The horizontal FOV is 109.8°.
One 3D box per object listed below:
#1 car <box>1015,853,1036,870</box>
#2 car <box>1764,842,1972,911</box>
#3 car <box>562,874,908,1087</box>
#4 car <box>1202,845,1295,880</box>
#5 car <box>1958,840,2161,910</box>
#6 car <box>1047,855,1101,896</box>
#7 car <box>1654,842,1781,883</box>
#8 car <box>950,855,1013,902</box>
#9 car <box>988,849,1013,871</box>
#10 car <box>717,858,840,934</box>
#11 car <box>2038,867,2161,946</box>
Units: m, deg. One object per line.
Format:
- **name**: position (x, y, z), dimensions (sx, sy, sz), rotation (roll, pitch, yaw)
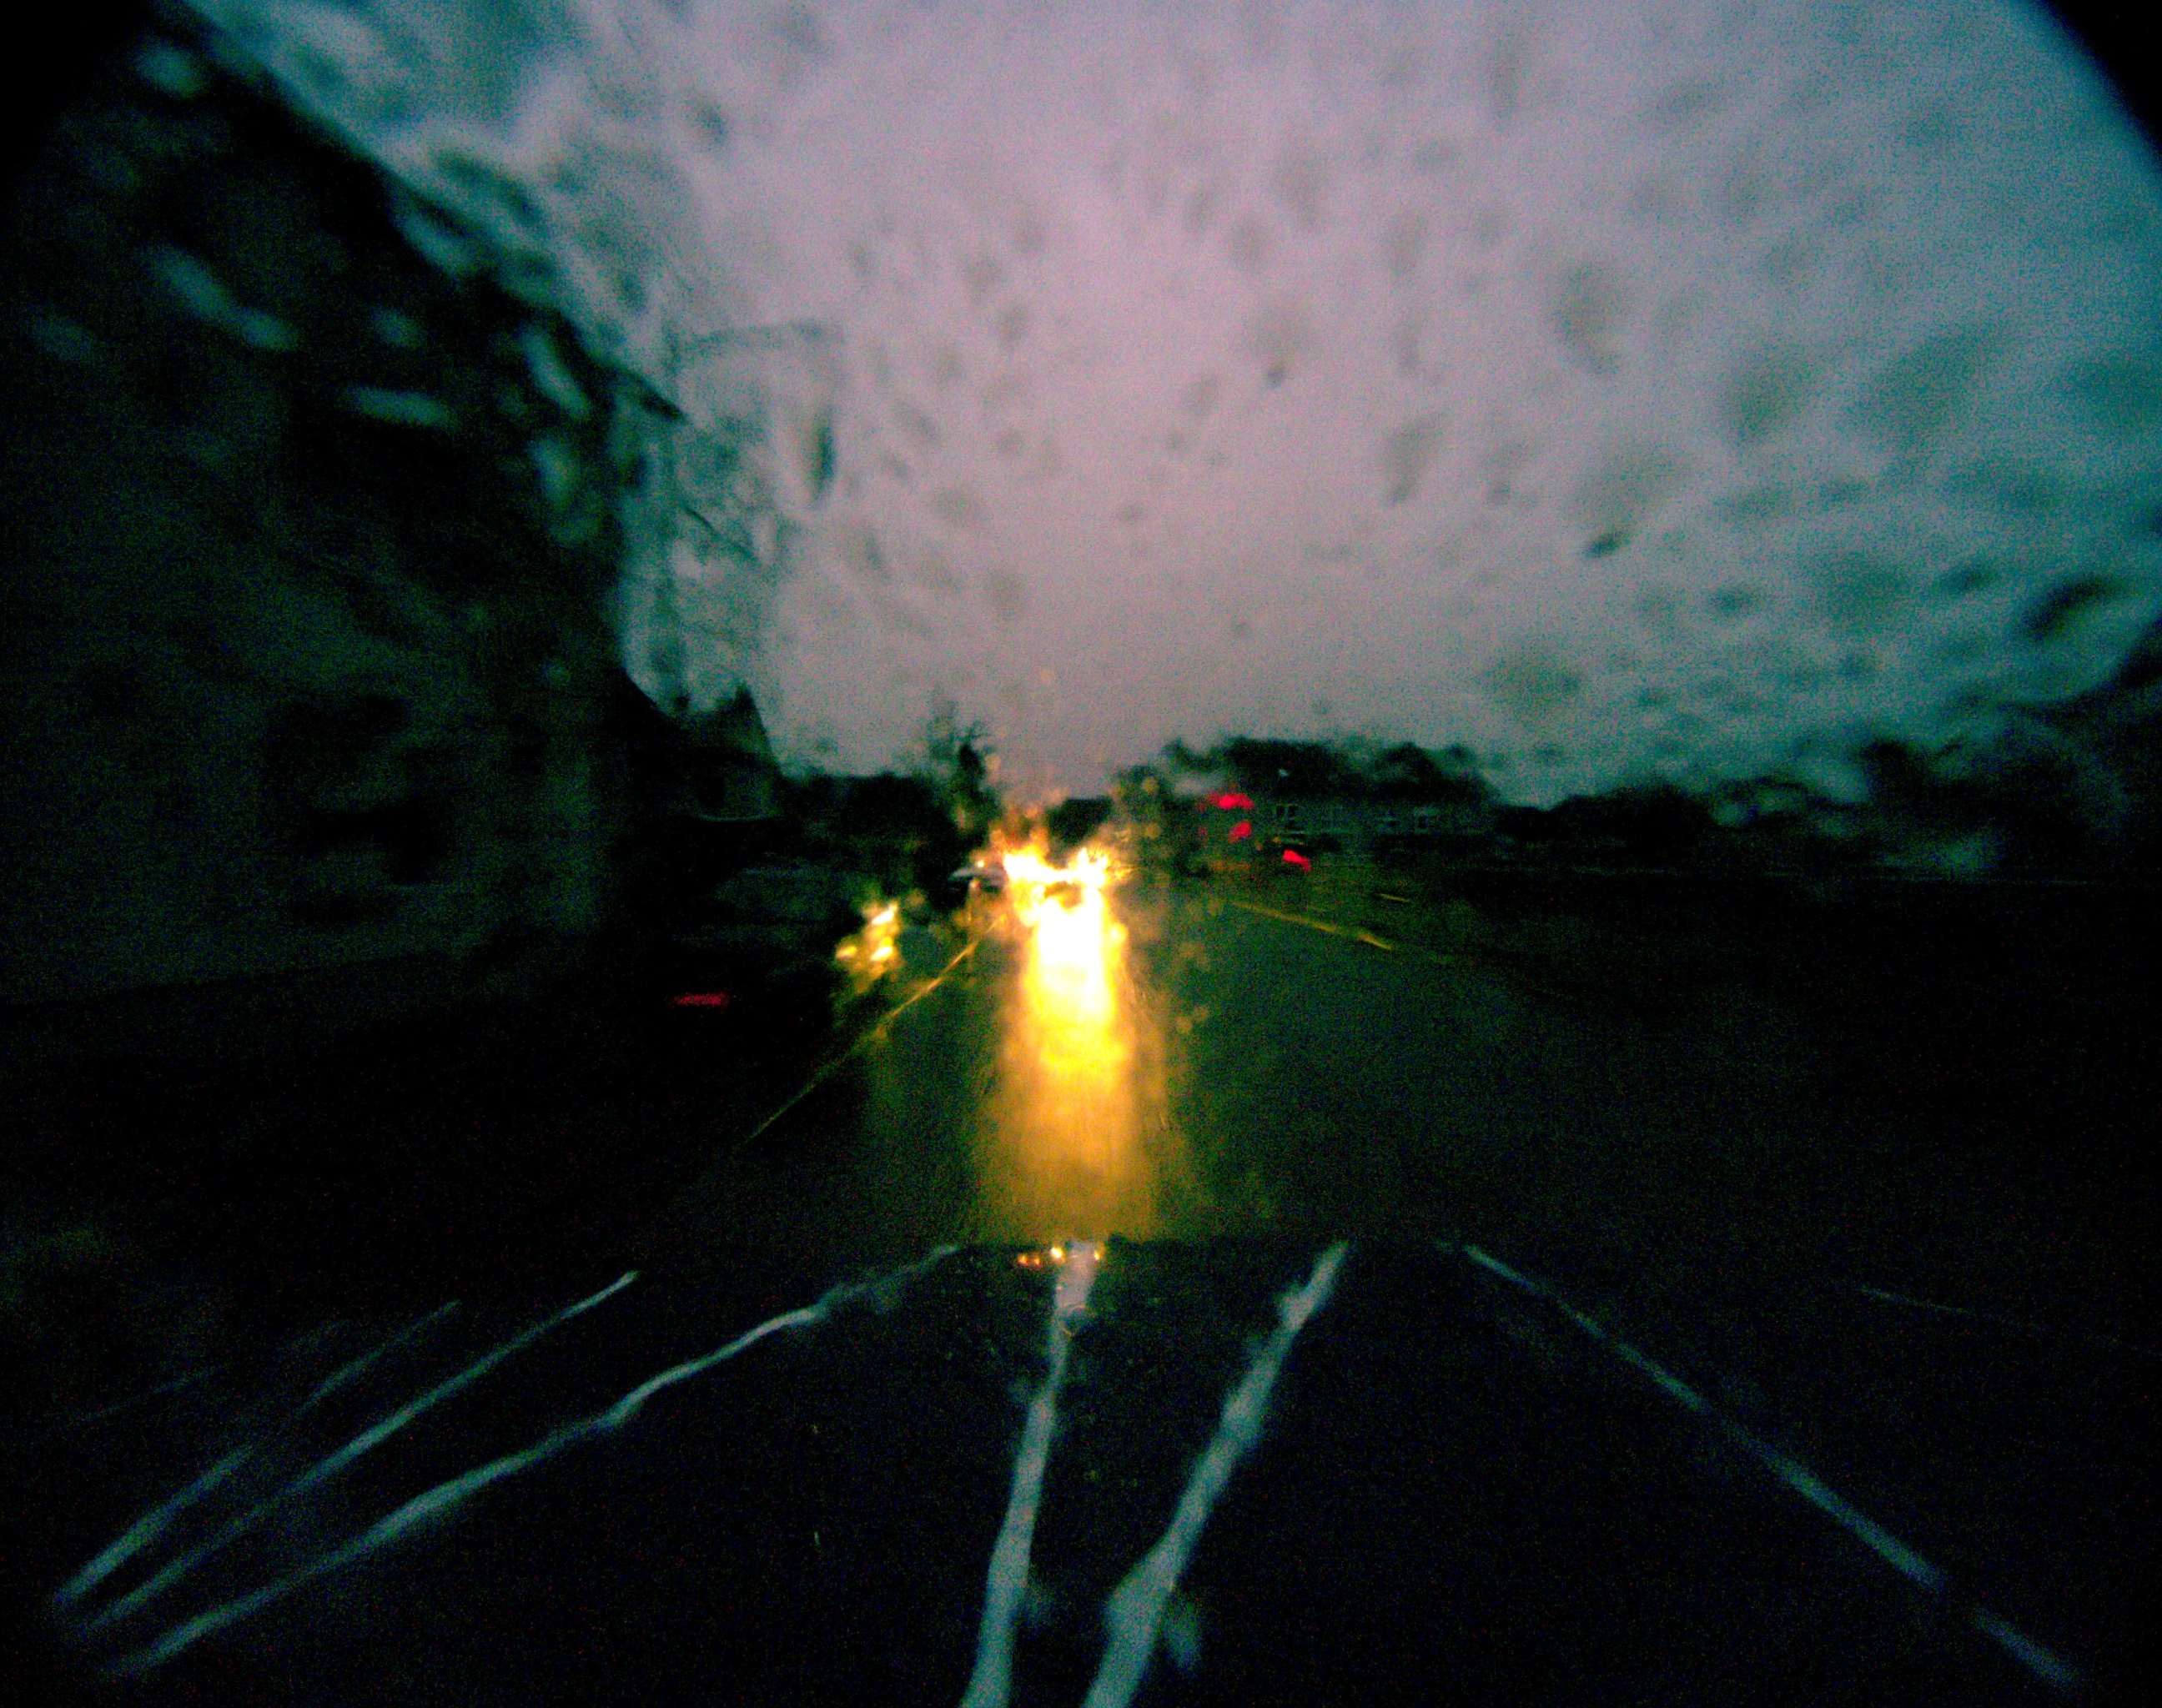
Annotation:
- **car**: position (-5.441, 0.701, 74.169), dimensions (1.907, 1.630, 4.564), rotation (-1, 0, -5)
- **car**: position (24.738, 0.660, 24.173), dimensions (1.999, 1.893, 4.357), rotation (-3, 0, -2)
- **car**: position (-3.003, 0.986, 7.664), dimensions (1.707, 1.443, 4.190), rotation (0, 0, -2)
- **car**: position (8.897, 0.432, 40.592), dimensions (4.345, 1.611, 1.999), rotation (-3, 1, -7)
- **car**: position (26.883, 0.503, 20.484), dimensions (1.839, 1.637, 4.000), rotation (-3, 0, 1)
- **car**: position (-0.370, 0.871, 31.365), dimensions (1.999, 1.525, 3.999), rotation (-2, -1, -3)
- **car**: position (24.642, 0.261, 29.613), dimensions (1.680, 1.406, 3.833), rotation (-3, 1, 0)
- **car**: position (-3.519, 0.820, 27.529), dimensions (1.812, 1.555, 4.304), rotation (0, 0, -1)
- **car**: position (-6.691, 0.483, 62.744), dimensions (1.917, 1.780, 4.563), rotation (0, 0, -8)
- **car**: position (-6.993, 0.876, 18.023), dimensions (1.813, 1.543, 4.301), rotation (0, 0, -9)
- **car**: position (24.090, 1.159, 16.439), dimensions (1.901, 1.509, 4.001), rotation (-3, 1, 5)
